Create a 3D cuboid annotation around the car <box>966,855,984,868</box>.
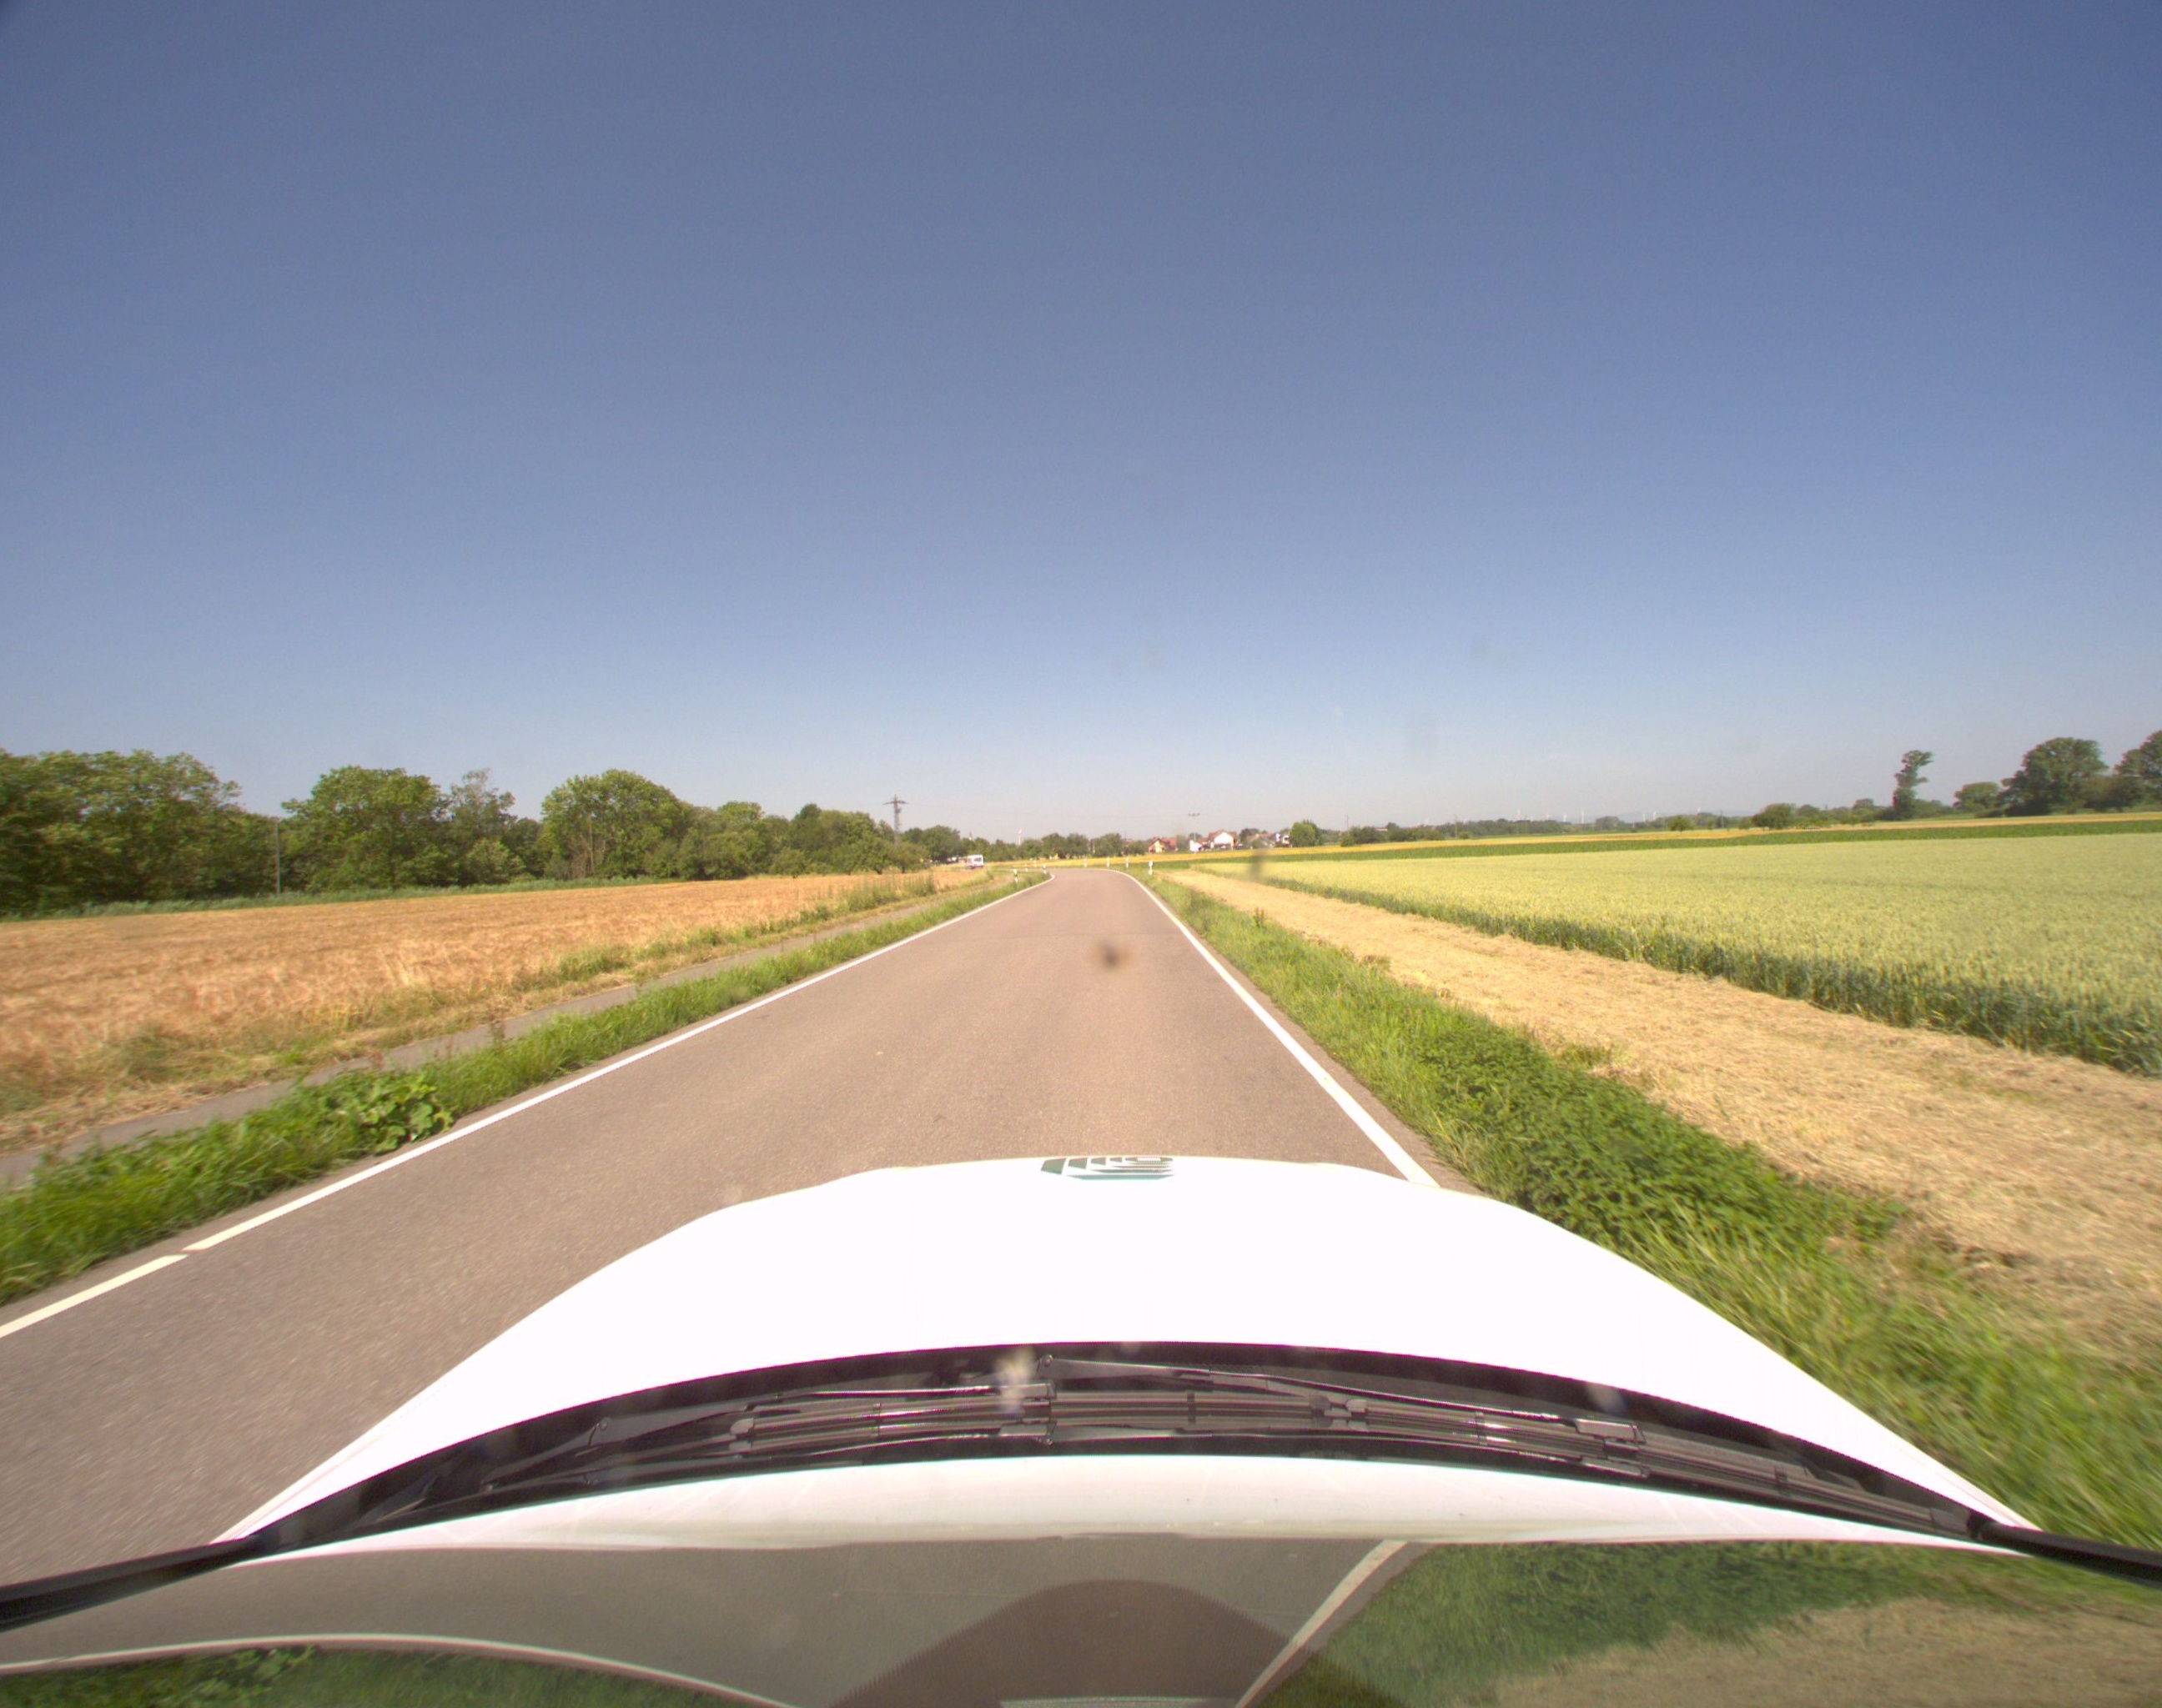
[{"bbox_3d":[-18.447,1.302,141.502,2.000,2.266,4.694,-2,0,-20],"label":"car"}]
